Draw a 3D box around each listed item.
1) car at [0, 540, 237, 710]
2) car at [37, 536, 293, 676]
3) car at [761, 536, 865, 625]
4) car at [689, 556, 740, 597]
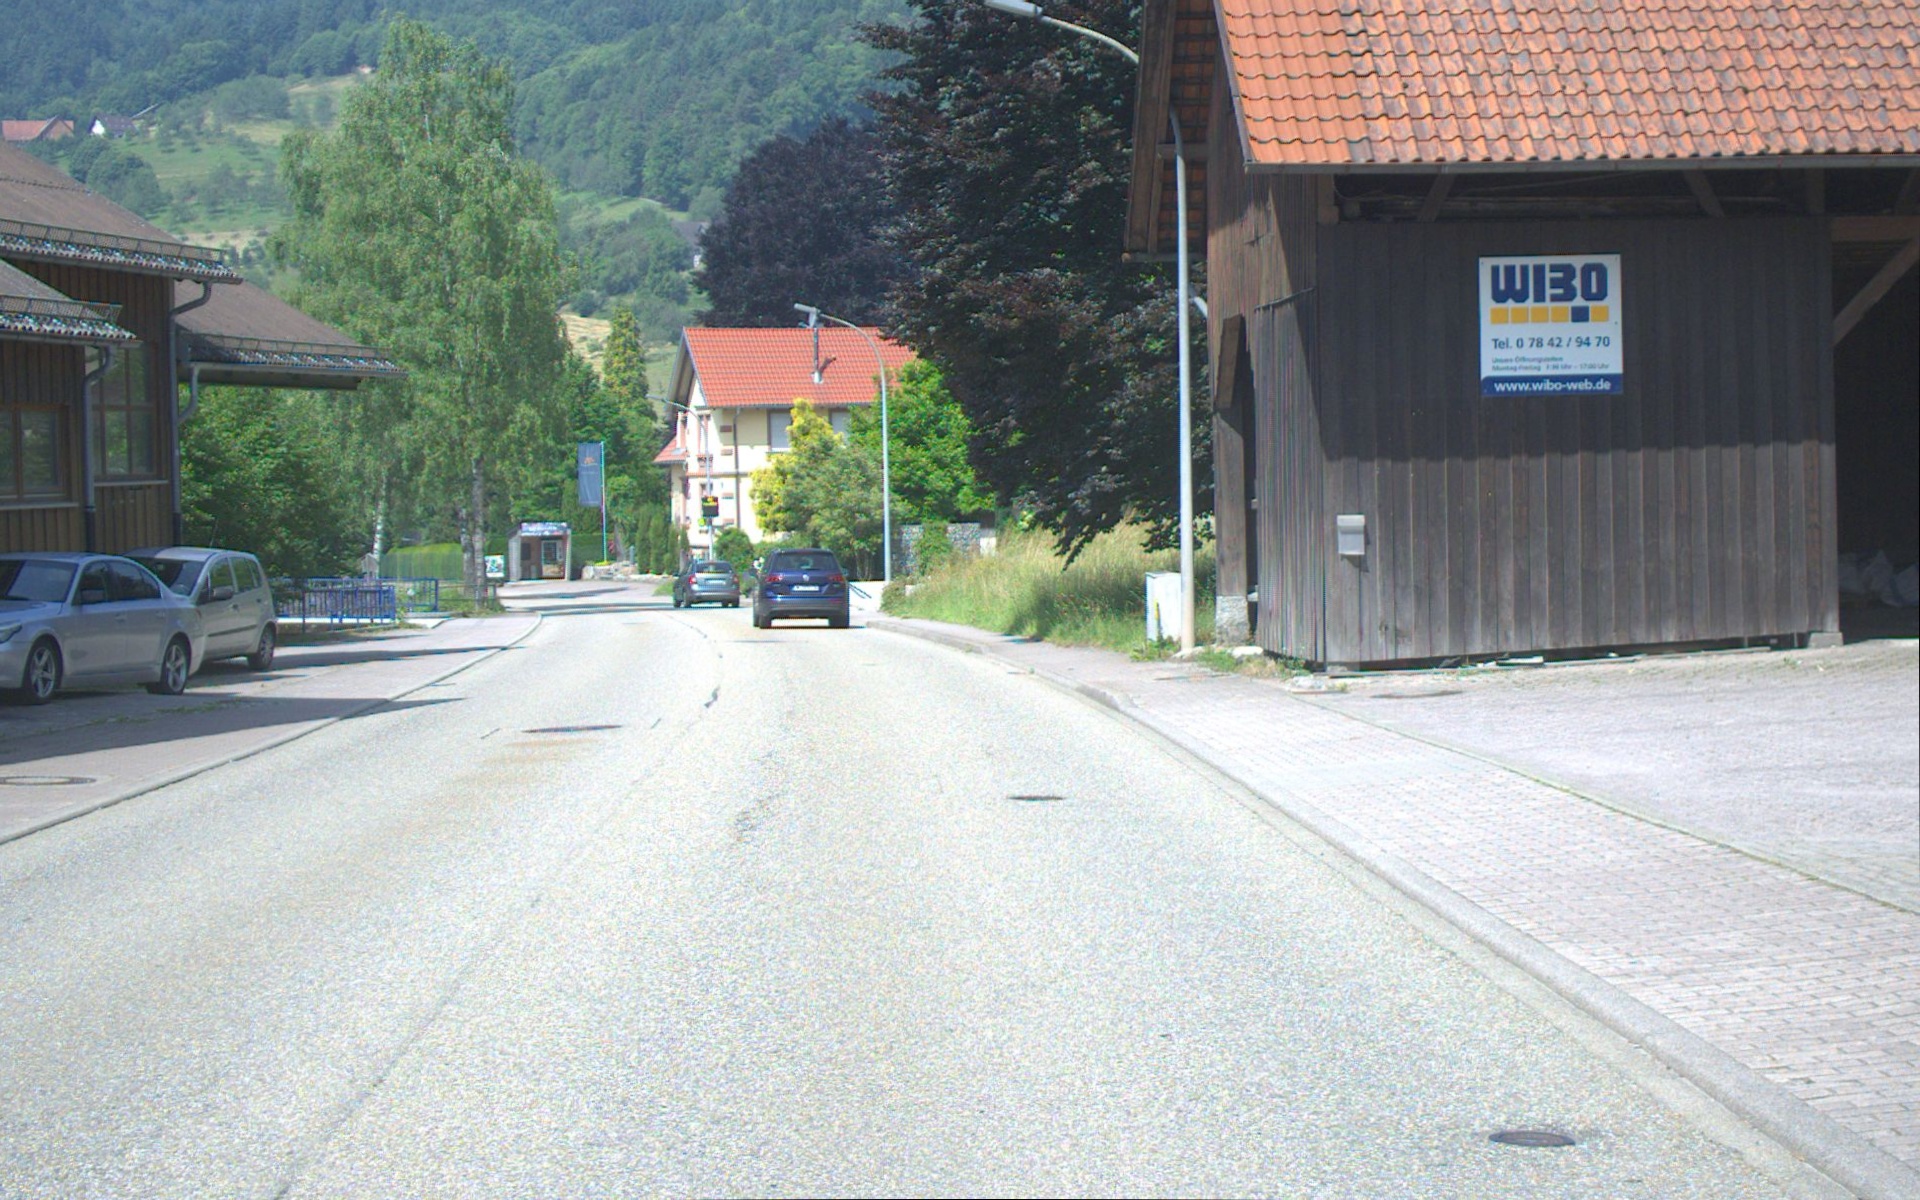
[{"bbox_3d":[-8.934,0.191,33.790,1.730,1.449,4.802,0,2,12],"label":"car"},{"bbox_3d":[-9.739,0.029,42.413,1.581,1.564,4.021,2,2,10],"label":"car"},{"bbox_3d":[-3.029,-0.410,70.100,1.919,1.692,3.789,-2,1,-5],"label":"car"},{"bbox_3d":[-7.683,-0.732,107.477,1.476,1.205,2.384,-2,1,-6],"label":"car"}]
